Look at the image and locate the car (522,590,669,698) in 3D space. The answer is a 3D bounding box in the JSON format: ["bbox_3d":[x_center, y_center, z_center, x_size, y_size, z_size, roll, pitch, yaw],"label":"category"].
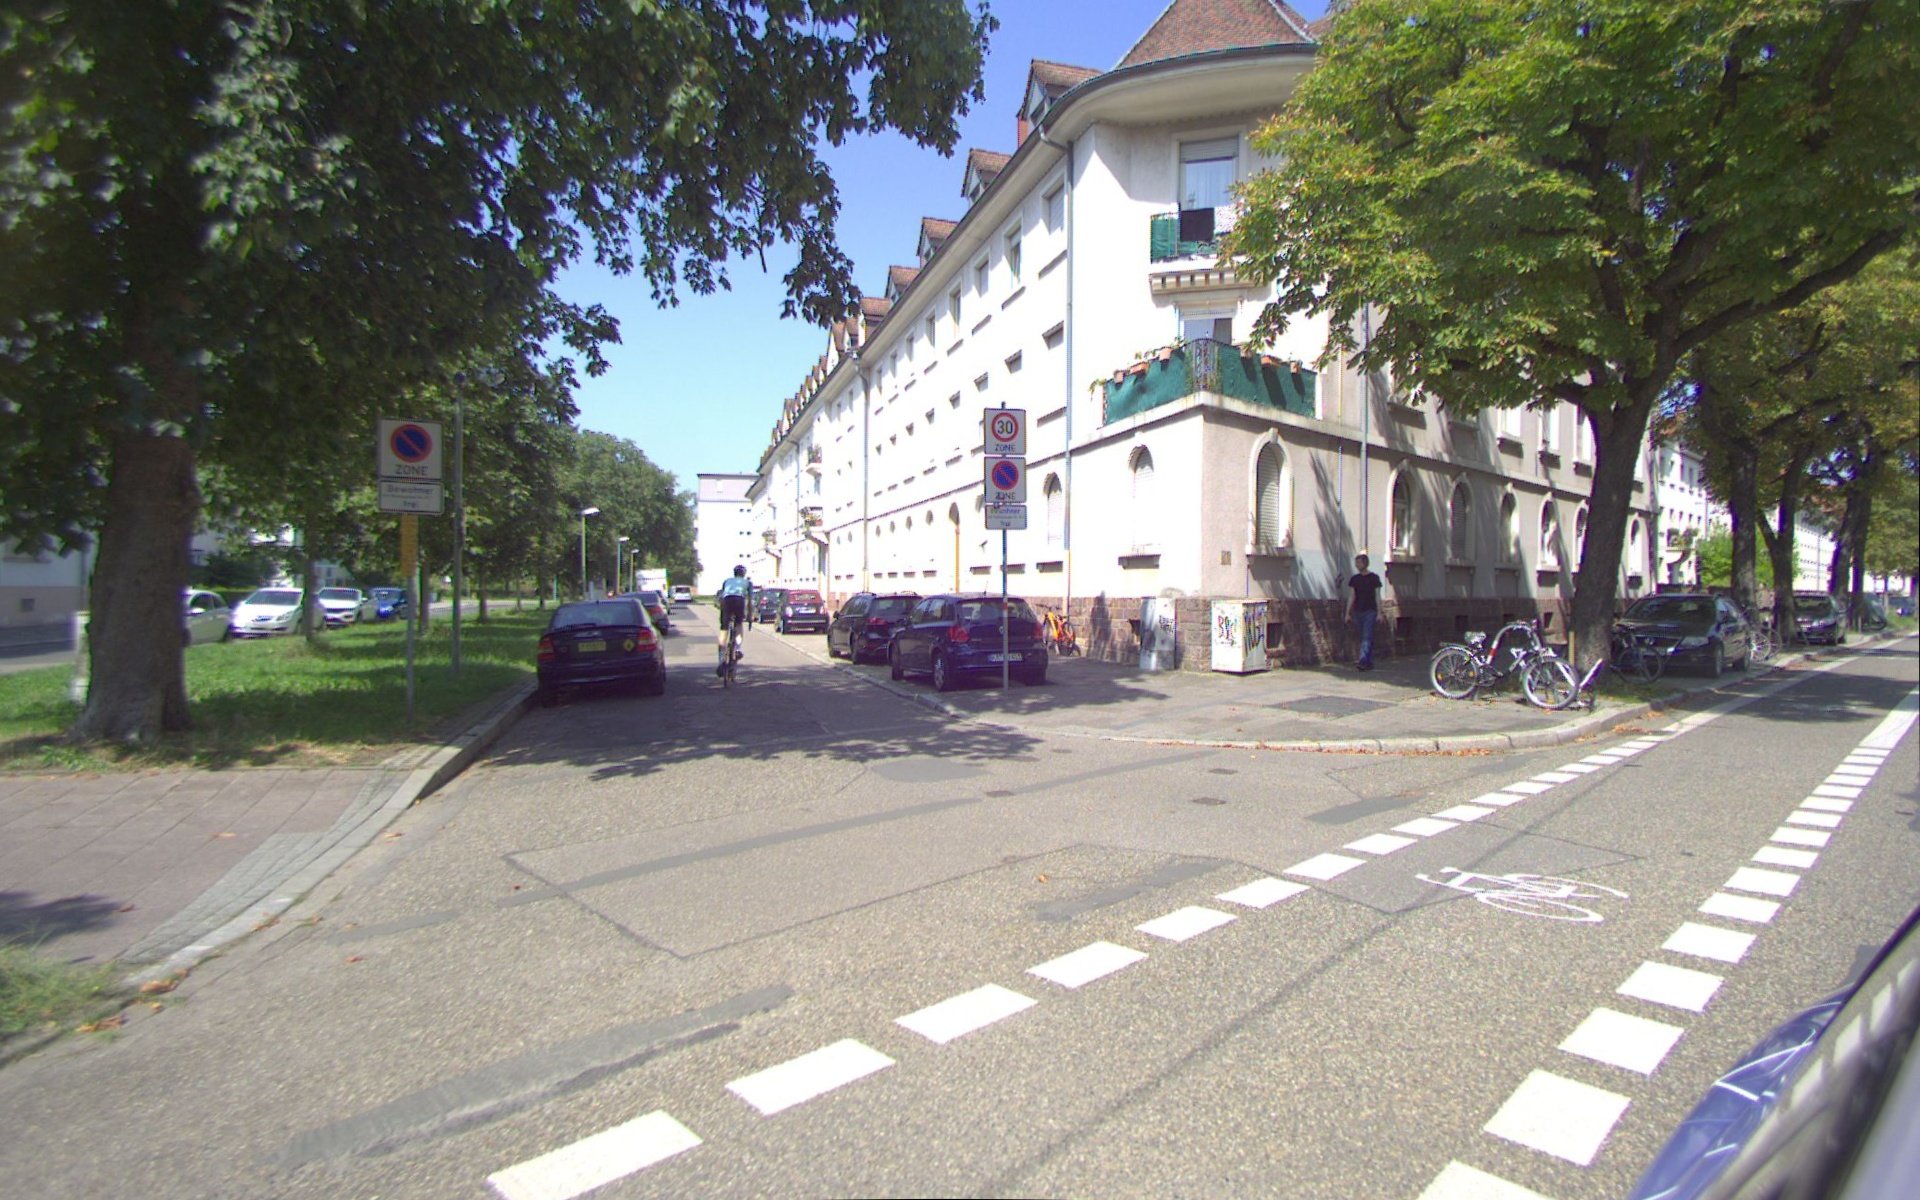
[{"bbox_3d":[-5.357,0.554,15.303,1.725,1.364,3.959,-1,1,-15],"label":"car"}]

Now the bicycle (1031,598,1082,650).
[{"bbox_3d":[1.865,0.437,19.734,0.405,0.954,1.685,0,0,-16],"label":"bicycle"}]

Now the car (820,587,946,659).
[{"bbox_3d":[-1.724,0.424,21.458,1.725,1.364,3.617,-1,1,-20],"label":"car"}]

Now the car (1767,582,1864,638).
[{"bbox_3d":[26.135,0.321,30.876,4.046,1.551,1.842,2,0,-44],"label":"car"}]

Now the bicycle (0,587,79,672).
[{"bbox_3d":[-13.338,0.382,13.534,1.139,1.127,3.220,1,-1,-17],"label":"bicycle"}]

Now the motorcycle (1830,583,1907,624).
[{"bbox_3d":[37.584,0.132,41.909,0.950,1.559,2.348,0,3,-2],"label":"motorcycle"}]

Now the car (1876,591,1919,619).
[{"bbox_3d":[52.855,0.255,56.766,4.760,1.496,1.894,0,1,-44],"label":"car"}]

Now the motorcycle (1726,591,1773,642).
[{"bbox_3d":[20.312,0.410,26.009,0.710,1.271,2.142,0,0,45],"label":"motorcycle"}]

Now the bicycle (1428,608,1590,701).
[{"bbox_3d":[6.896,0.649,12.774,0.557,1.045,1.715,0,1,-42],"label":"bicycle"}]

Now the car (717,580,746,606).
[{"bbox_3d":[-15.819,-0.501,70.077,1.725,1.769,3.959,-1,1,-16],"label":"car"}]

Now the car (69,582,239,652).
[{"bbox_3d":[-18.590,0.329,23.562,1.604,1.456,3.984,-1,1,-15],"label":"car"}]

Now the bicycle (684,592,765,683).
[{"bbox_3d":[-3.652,0.541,15.948,1.127,1.285,2.717,1,1,-11],"label":"bicycle"}]

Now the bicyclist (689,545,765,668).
[{"bbox_3d":[-3.624,0.096,15.860,1.105,1.860,0.957,0,0,-10],"label":"bicyclist"}]

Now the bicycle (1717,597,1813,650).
[{"bbox_3d":[17.620,0.499,22.177,0.391,1.117,1.610,0,0,-36],"label":"bicycle"}]

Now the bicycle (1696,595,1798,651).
[{"bbox_3d":[17.174,0.487,22.130,0.370,1.164,1.727,0,0,-36],"label":"bicycle"}]

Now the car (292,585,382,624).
[{"bbox_3d":[-22.257,0.134,36.292,1.665,1.295,3.896,-1,1,-15],"label":"car"}]

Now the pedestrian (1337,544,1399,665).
[{"bbox_3d":[6.673,0.063,16.554,0.702,1.915,0.707,0,0,-42],"label":"pedestrian"}]

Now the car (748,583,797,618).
[{"bbox_3d":[-8.287,-0.009,44.550,1.725,1.466,3.959,-1,1,-16],"label":"car"}]

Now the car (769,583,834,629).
[{"bbox_3d":[-5.486,0.164,34.603,1.725,1.466,3.959,-1,1,-16],"label":"car"}]

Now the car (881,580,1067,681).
[{"bbox_3d":[0.094,0.398,15.943,1.725,1.364,3.617,-1,1,-20],"label":"car"}]

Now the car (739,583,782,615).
[{"bbox_3d":[-9.808,-0.080,49.638,1.725,1.466,3.959,-1,1,-16],"label":"car"}]

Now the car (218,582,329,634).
[{"bbox_3d":[-20.586,0.195,30.518,1.604,1.448,3.792,-1,1,-15],"label":"car"}]

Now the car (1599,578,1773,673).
[{"bbox_3d":[13.835,0.406,19.177,4.700,1.551,1.842,0,2,-44],"label":"car"}]

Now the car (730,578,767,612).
[{"bbox_3d":[-11.687,-0.305,55.731,1.725,1.769,3.959,-1,1,-16],"label":"car"}]

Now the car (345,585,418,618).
[{"bbox_3d":[-23.894,0.026,41.960,1.665,1.295,3.896,-1,1,-15],"label":"car"}]

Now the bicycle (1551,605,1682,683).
[{"bbox_3d":[10.421,0.671,16.131,0.370,1.151,1.727,0,1,-36],"label":"bicycle"}]

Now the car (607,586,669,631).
[{"bbox_3d":[-10.604,0.245,33.538,1.725,1.364,3.959,-1,1,-15],"label":"car"}]
